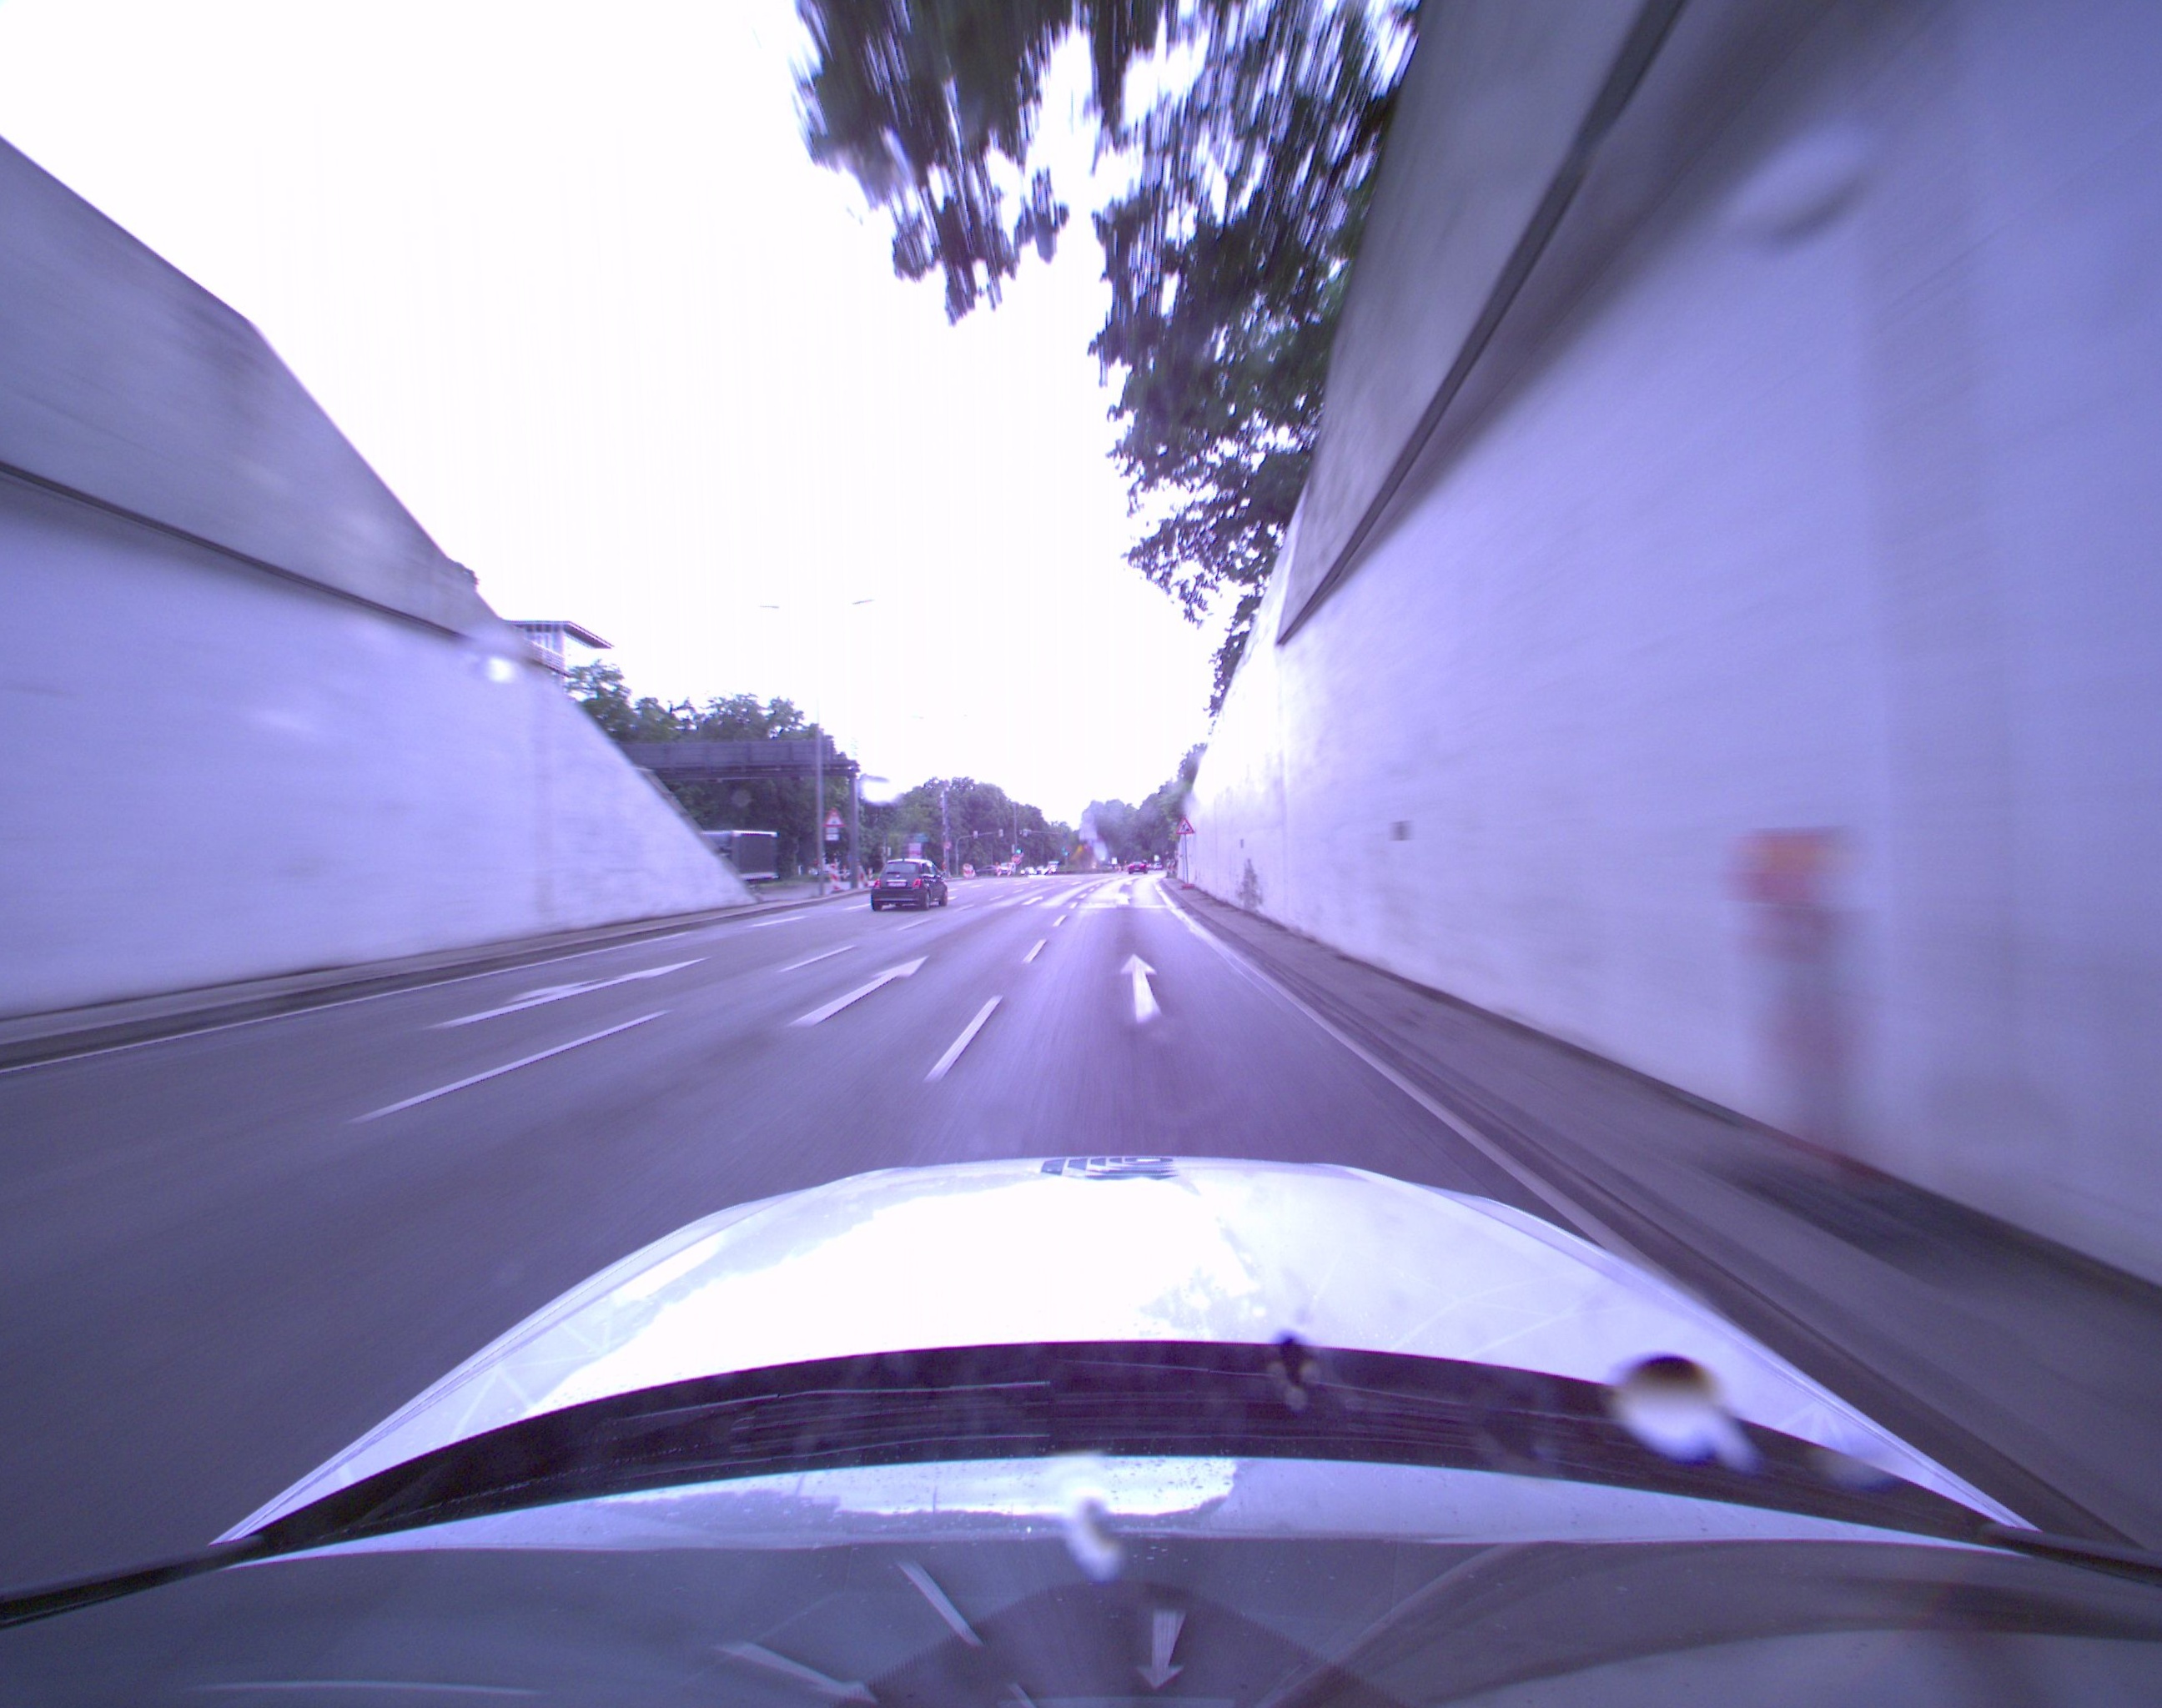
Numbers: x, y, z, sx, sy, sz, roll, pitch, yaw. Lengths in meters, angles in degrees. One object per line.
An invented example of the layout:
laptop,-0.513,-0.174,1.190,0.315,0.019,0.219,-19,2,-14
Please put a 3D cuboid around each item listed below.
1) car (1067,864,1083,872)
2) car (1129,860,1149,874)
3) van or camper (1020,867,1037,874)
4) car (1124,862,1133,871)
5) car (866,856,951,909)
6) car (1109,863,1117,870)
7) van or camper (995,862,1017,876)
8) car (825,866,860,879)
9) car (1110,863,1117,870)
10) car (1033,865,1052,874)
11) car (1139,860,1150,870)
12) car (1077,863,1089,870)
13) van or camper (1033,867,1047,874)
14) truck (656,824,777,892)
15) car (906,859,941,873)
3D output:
car,-0.966,2.277,132.148,1.998,1.301,4.325,-1,-1,8
car,6.166,1.362,86.704,1.985,1.448,4.317,-1,-1,3
van or camper,-8.933,2.812,138.652,1.998,1.301,4.100,-1,-1,8
car,10.979,2.803,188.095,1.987,2.014,4.000,0,-1,0
car,-5.100,0.800,24.557,1.605,1.454,3.575,1,0,3
car,8.697,3.389,220.549,1.987,2.014,4.000,0,-1,0
van or camper,-11.120,2.211,121.108,2.116,2.014,5.326,-1,-1,8
car,-31.270,2.450,106.887,3.970,1.514,1.900,-1,0,3
car,9.504,3.704,235.974,1.987,2.014,4.000,0,-1,0
car,-5.645,2.356,121.094,1.998,1.301,4.325,-1,-1,8
car,12.362,2.166,158.368,1.987,2.014,4.000,0,-1,0
car,0.373,2.473,155.198,2.000,1.301,4.321,-1,-1,5
van or camper,-7.634,3.076,151.805,1.998,1.301,4.100,-1,-1,8
truck,-18.874,0.178,42.729,2.785,3.276,7.153,0,0,3
car,-20.357,1.516,105.260,3.970,1.684,1.900,-1,0,3
